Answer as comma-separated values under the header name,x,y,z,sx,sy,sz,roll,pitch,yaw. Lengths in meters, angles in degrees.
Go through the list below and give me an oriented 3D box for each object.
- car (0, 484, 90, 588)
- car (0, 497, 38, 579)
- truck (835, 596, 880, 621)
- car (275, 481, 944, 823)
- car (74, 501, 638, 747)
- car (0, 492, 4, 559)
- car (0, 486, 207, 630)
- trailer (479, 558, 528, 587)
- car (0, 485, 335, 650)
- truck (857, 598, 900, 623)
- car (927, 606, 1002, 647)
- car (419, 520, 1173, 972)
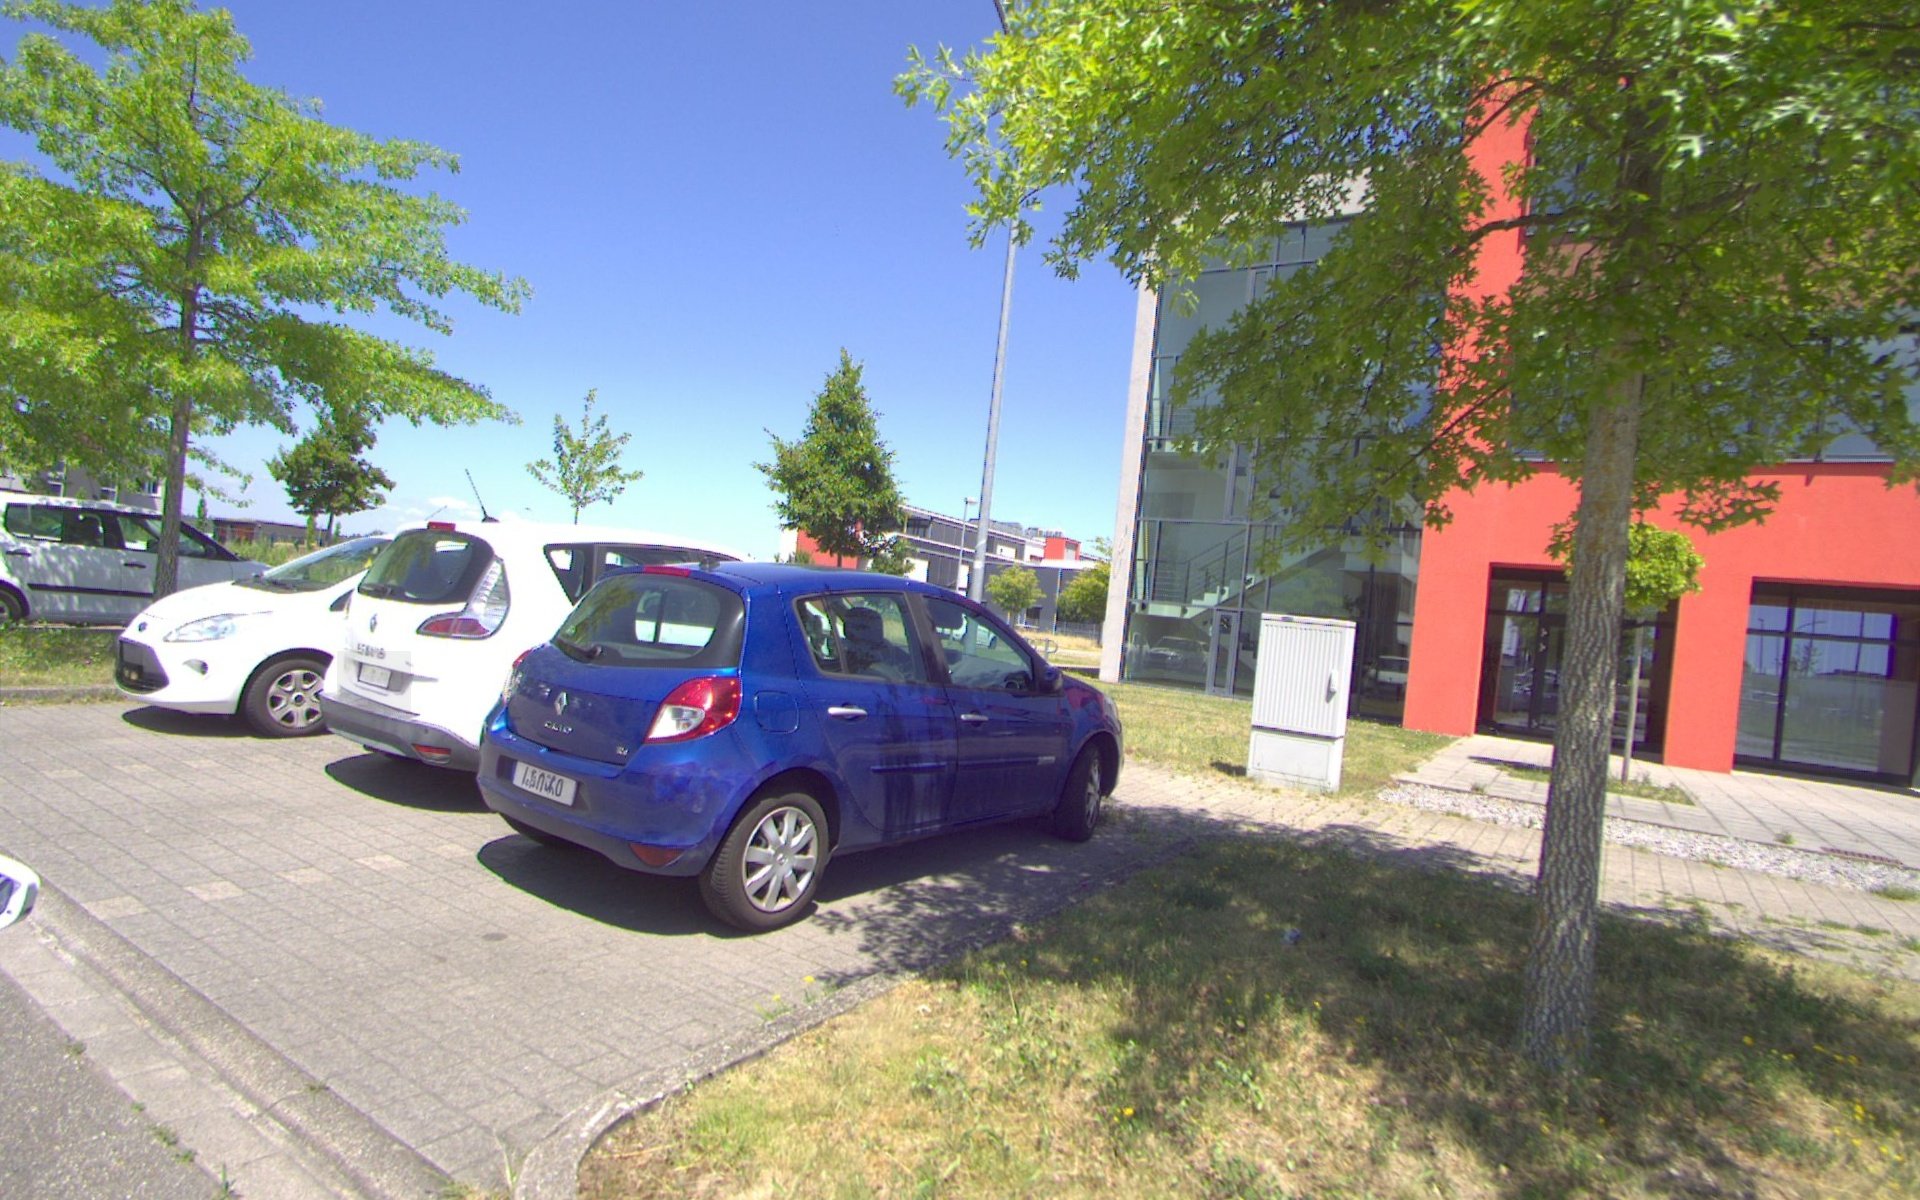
name,x,y,z,sx,sy,sz,roll,pitch,yaw
car,-17.086,-1.201,16.407,1.666,1.646,4.047,6,0,33
car,-19.166,-1.292,17.684,1.619,1.471,4.047,5,0,33
truck,-9.886,0.825,97.642,1.967,2.038,4.347,6,-1,32
car,-2.130,0.281,7.112,1.747,1.672,4.104,6,2,38
car,-4.629,0.164,8.257,1.583,1.482,3.621,6,2,28
car,-21.472,-1.573,18.892,1.881,1.581,4.721,5,0,29
car,-11.789,-0.601,12.238,1.753,1.572,3.831,7,0,38
trailer,-48.627,-2.904,107.199,2.196,2.632,3.992,6,-1,32
car,-9.539,-0.346,11.282,1.751,1.543,3.837,6,-1,33
truck,-7.775,1.022,96.258,1.967,2.038,3.991,6,-1,32
car,0.233,1.193,44.762,1.691,1.528,3.325,6,-1,33
car,-0.515,0.547,5.585,1.701,1.510,3.991,6,2,37
